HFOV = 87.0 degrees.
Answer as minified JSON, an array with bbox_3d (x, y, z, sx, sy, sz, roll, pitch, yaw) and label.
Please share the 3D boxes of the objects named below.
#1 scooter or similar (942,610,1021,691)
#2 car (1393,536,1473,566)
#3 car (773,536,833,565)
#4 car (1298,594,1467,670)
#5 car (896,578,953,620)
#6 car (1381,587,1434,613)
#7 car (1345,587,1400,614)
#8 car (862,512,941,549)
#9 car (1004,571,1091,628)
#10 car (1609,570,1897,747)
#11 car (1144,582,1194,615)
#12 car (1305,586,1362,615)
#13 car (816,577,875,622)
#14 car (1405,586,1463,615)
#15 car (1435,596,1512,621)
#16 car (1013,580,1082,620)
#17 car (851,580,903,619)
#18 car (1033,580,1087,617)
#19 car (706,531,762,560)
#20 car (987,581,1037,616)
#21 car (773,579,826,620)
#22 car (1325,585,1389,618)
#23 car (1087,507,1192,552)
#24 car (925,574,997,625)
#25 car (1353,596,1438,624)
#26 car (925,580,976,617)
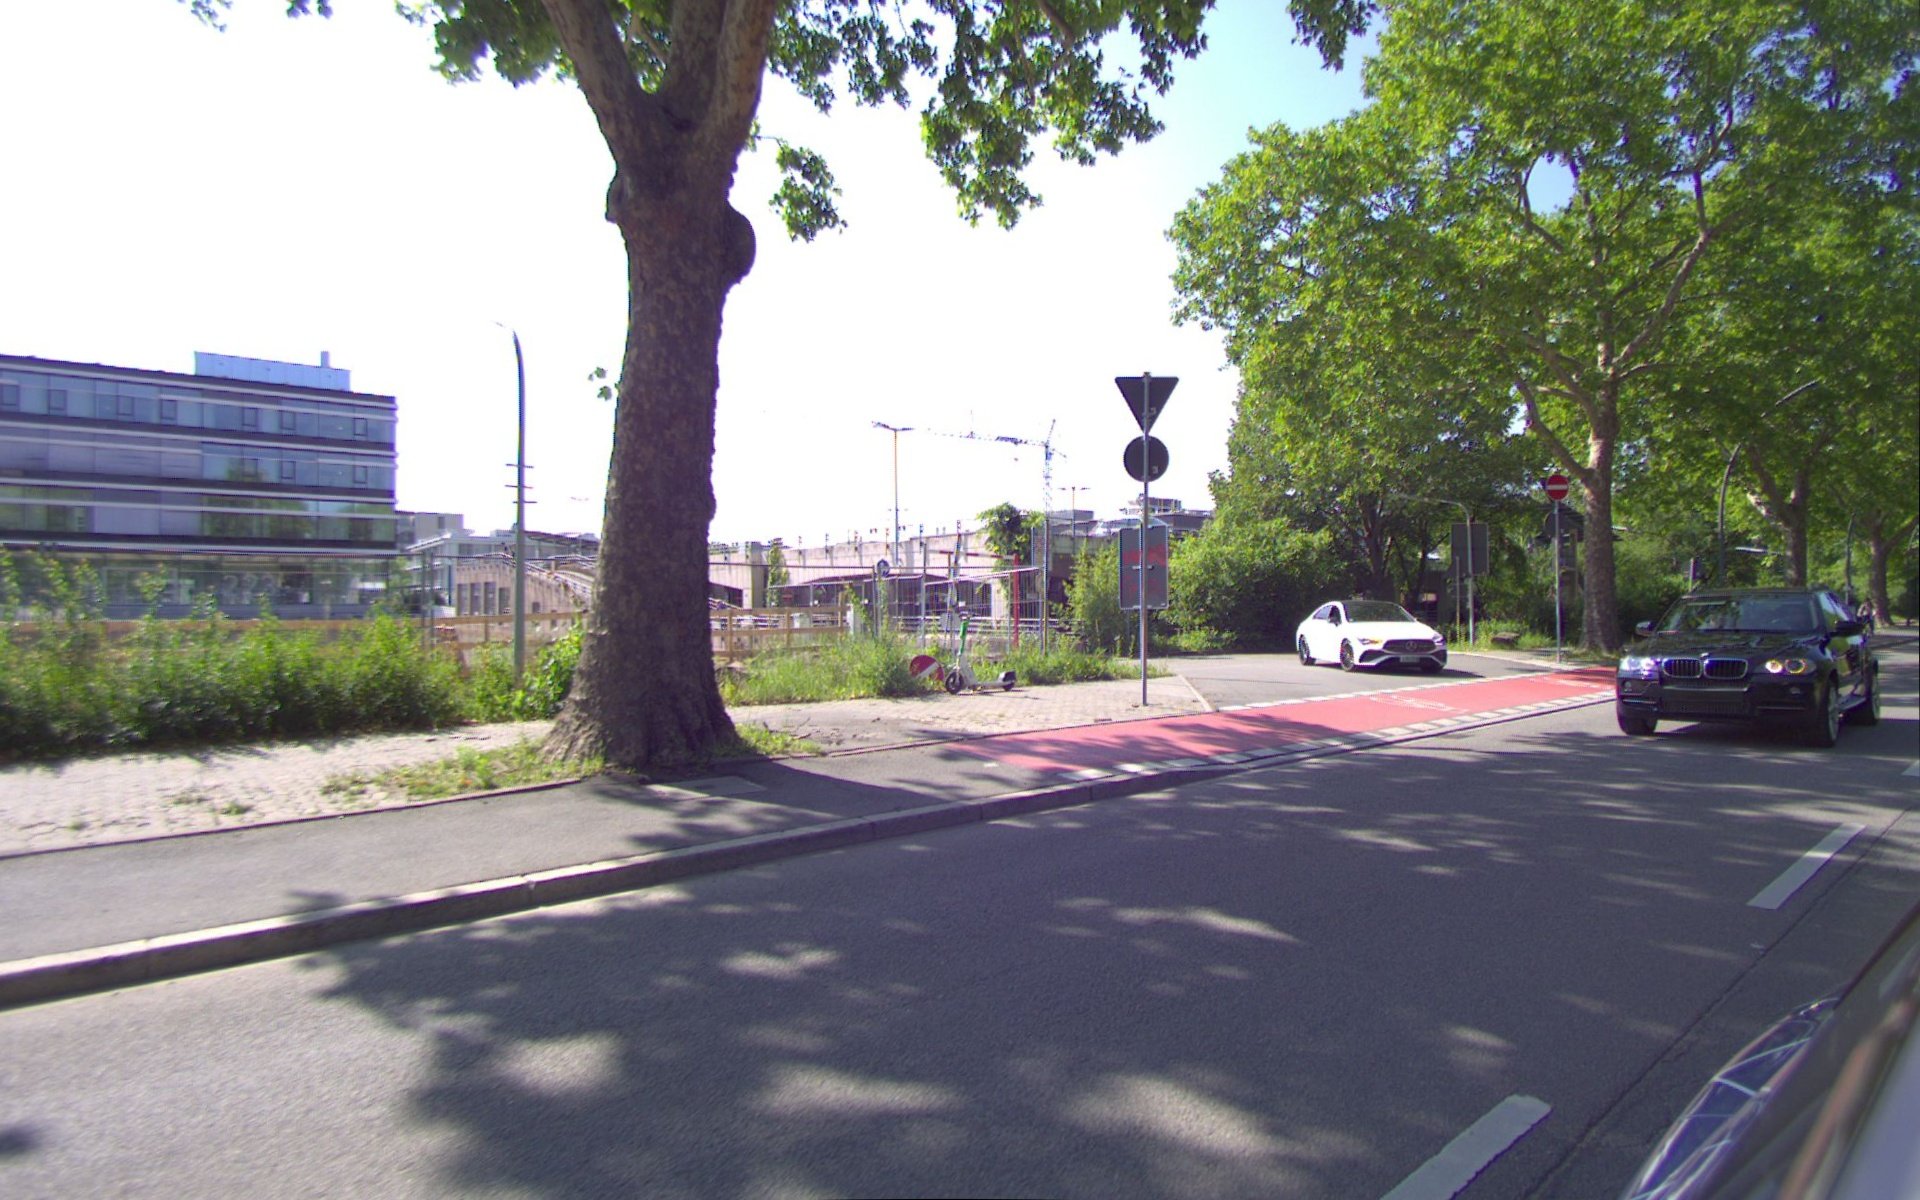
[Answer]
[{"bbox_3d":[0.322,0.720,14.781,1.107,1.136,0.483,0,-1,-39],"label":"scooter or similar"},{"bbox_3d":[28.459,-2.919,60.968,1.778,1.529,3.992,0,-1,-42],"label":"car"},{"bbox_3d":[-9.620,-2.982,61.868,1.778,1.529,3.992,0,-1,-42],"label":"car"},{"bbox_3d":[8.561,0.613,20.910,1.861,1.426,3.998,0,0,1],"label":"car"},{"bbox_3d":[-2.484,-0.042,69.772,1.778,2.774,3.992,1,-1,-42],"label":"car"},{"bbox_3d":[40.666,0.034,91.991,1.778,2.352,3.992,1,-1,-42],"label":"car"},{"bbox_3d":[35.616,0.055,87.462,1.778,2.352,3.992,1,-1,-42],"label":"car"},{"bbox_3d":[-2.920,-3.382,49.896,1.778,1.529,3.992,0,-1,-42],"label":"car"},{"bbox_3d":[4.389,0.002,51.157,1.778,2.774,4.369,1,-1,-42],"label":"car"},{"bbox_3d":[9.576,0.600,12.115,4.079,1.753,1.922,0,-2,-41],"label":"car"},{"bbox_3d":[18.046,-0.126,87.565,1.778,2.774,3.992,1,-1,-42],"label":"car"},{"bbox_3d":[30.627,0.075,83.023,1.778,2.352,3.992,1,-1,-42],"label":"car"},{"bbox_3d":[-7.381,-0.020,64.859,1.778,2.774,3.992,1,-1,-42],"label":"car"},{"bbox_3d":[39.114,0.058,83.591,1.778,2.352,3.992,1,-1,-42],"label":"car"},{"bbox_3d":[32.537,0.531,64.166,1.778,1.529,3.992,0,-1,-42],"label":"car"},{"bbox_3d":[5.227,0.024,60.868,1.778,2.352,3.992,1,-1,-42],"label":"car"},{"bbox_3d":[-6.052,-0.045,73.711,1.778,2.774,3.992,1,-1,-42],"label":"car"},{"bbox_3d":[7.745,-0.084,78.699,1.778,2.774,3.992,1,-1,-42],"label":"car"},{"bbox_3d":[-14.157,-3.394,63.265,1.778,1.529,3.992,0,-1,-42],"label":"car"},{"bbox_3d":[4.227,-0.087,82.690,1.778,2.774,3.992,1,-1,-42],"label":"car"},{"bbox_3d":[-11.027,-0.024,69.336,1.778,2.774,3.992,1,-1,-42],"label":"car"},{"bbox_3d":[29.121,0.100,74.269,1.778,2.352,3.992,1,-1,-42],"label":"car"},{"bbox_3d":[7.322,-2.829,41.500,1.778,1.529,3.992,0,-1,-42],"label":"car"},{"bbox_3d":[0.024,-0.010,56.456,1.778,2.774,3.992,1,-1,-42],"label":"car"},{"bbox_3d":[24.345,0.565,56.674,1.778,1.529,3.992,0,-1,-42],"label":"car"},{"bbox_3d":[-0.732,-0.066,78.057,1.778,2.774,3.992,1,-1,-42],"label":"car"}]
